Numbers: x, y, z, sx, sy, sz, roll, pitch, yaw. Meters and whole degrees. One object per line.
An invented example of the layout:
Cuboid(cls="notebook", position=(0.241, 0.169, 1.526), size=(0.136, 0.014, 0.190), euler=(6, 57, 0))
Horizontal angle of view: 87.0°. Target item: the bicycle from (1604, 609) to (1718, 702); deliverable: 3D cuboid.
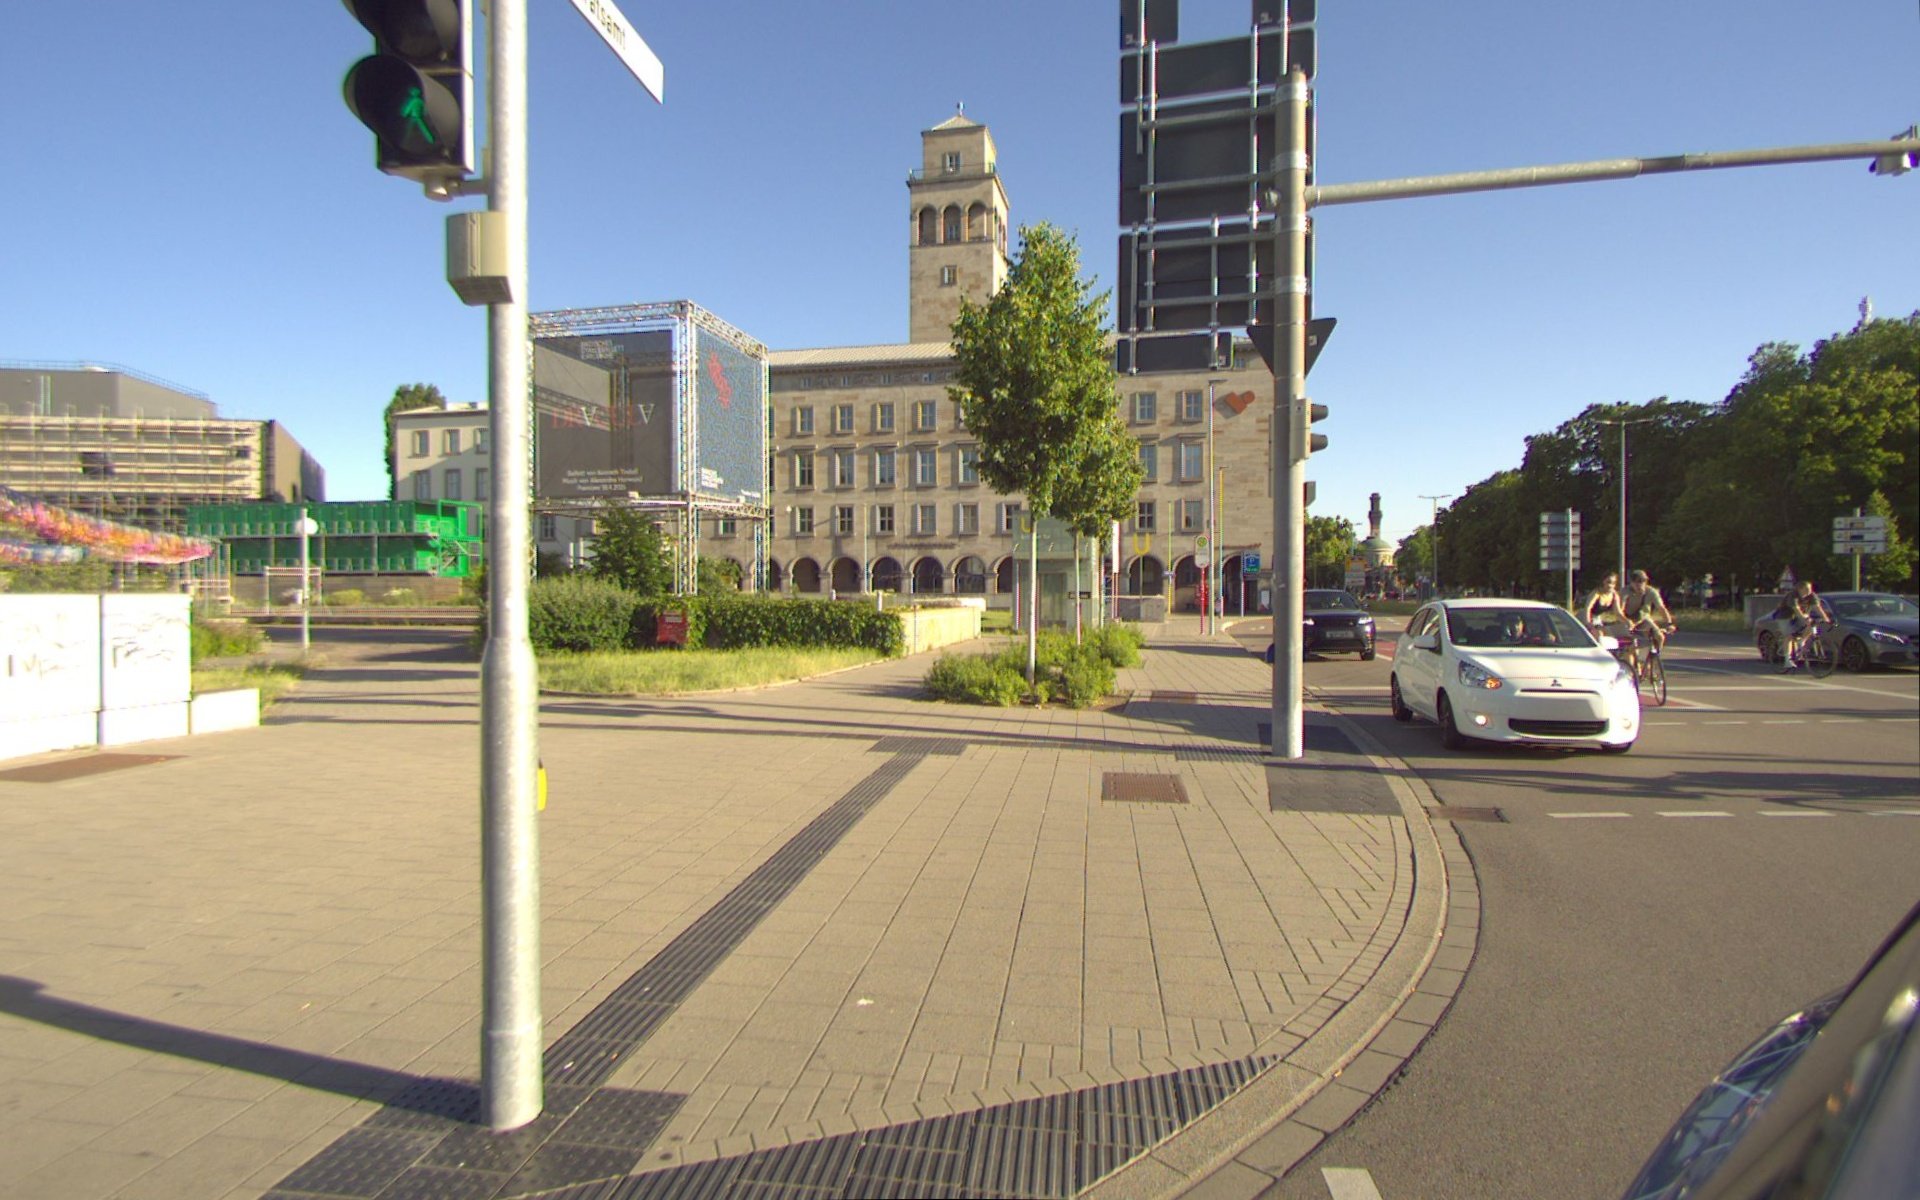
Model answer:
Cuboid(cls="bicycle", position=(9.441, 0.713, 13.703), size=(0.616, 1.130, 1.809), euler=(0, 1, 12))

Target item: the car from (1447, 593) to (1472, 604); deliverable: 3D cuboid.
Cuboid(cls="car", position=(55.381, -0.160, 112.267), size=(1.594, 1.147, 3.758), euler=(-1, 1, 12))

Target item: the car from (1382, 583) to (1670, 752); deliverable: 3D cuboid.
Cuboid(cls="car", position=(5.865, 0.593, 11.025), size=(1.636, 1.490, 3.953), euler=(-2, 0, 13))

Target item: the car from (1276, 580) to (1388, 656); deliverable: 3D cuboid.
Cuboid(cls="car", position=(9.076, 0.374, 25.075), size=(1.969, 1.683, 4.774), euler=(0, 1, 12))

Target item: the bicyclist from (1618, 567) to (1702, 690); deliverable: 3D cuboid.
Cuboid(cls="bicyclist", position=(9.445, 0.356, 13.684), size=(0.616, 1.594, 0.891), euler=(0, 1, 13))

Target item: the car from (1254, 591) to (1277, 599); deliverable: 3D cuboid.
Cuboid(cls="car", position=(52.150, -0.857, 172.987), size=(3.717, 1.470, 1.612), euler=(-1, 0, 16))

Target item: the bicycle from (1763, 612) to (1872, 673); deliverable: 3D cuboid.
Cuboid(cls="bicycle", position=(14.430, 0.690, 17.087), size=(0.615, 0.920, 1.902), euler=(-1, 0, 15))

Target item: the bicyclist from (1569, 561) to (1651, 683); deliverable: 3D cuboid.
Cuboid(cls="bicyclist", position=(8.627, 0.279, 13.461), size=(0.642, 1.562, 0.844), euler=(0, 0, 13))

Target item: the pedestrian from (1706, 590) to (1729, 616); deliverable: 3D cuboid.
Cuboid(cls="pedestrian", position=(53.680, 0.205, 71.750), size=(0.983, 1.805, 0.960), euler=(-1, 0, 14))

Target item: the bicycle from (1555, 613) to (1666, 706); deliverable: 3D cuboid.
Cuboid(cls="bicycle", position=(8.621, 0.746, 13.491), size=(0.642, 1.108, 1.794), euler=(0, 1, 12))

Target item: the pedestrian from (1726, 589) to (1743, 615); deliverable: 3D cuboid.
Cuboid(cls="pedestrian", position=(50.831, 0.126, 66.408), size=(0.655, 1.748, 0.695), euler=(0, 0, 14))

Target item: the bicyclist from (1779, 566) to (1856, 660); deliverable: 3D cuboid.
Cuboid(cls="bicyclist", position=(14.412, 0.213, 17.032), size=(0.615, 1.522, 0.933), euler=(-1, 0, 15))

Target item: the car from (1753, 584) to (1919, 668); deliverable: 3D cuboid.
Cuboid(cls="car", position=(16.848, 0.395, 18.705), size=(1.751, 1.369, 4.506), euler=(-1, 1, 14))
